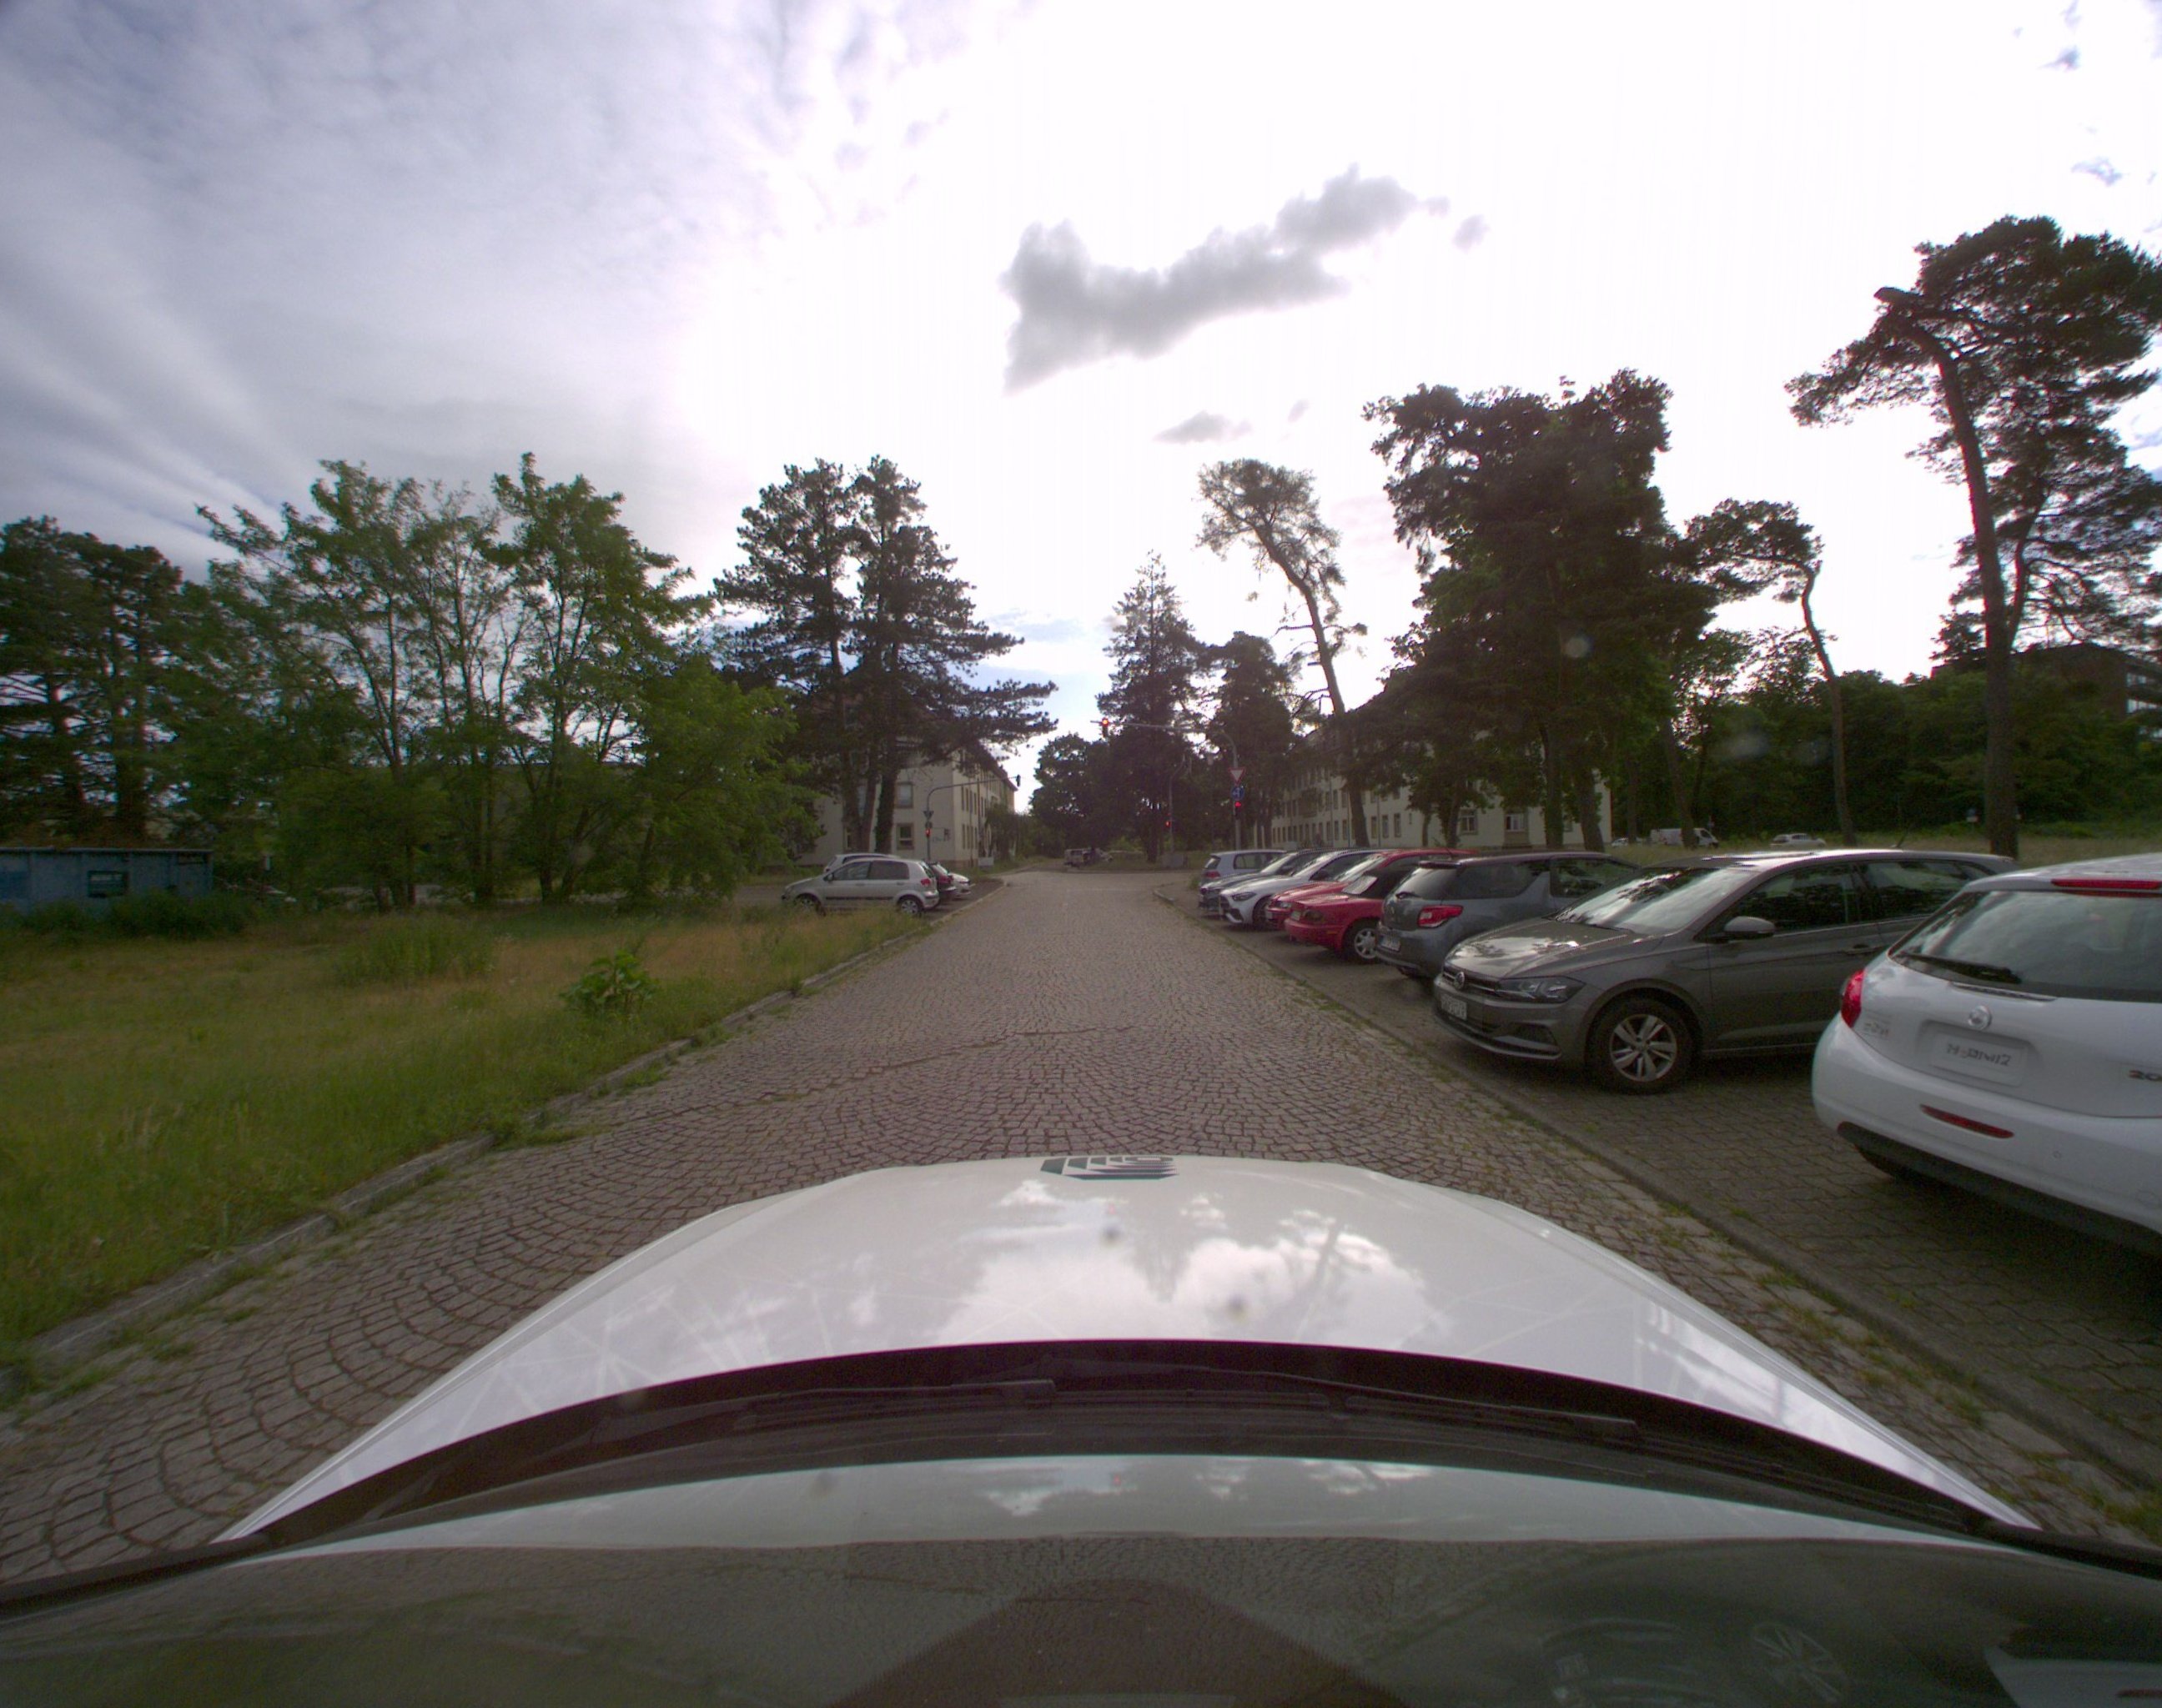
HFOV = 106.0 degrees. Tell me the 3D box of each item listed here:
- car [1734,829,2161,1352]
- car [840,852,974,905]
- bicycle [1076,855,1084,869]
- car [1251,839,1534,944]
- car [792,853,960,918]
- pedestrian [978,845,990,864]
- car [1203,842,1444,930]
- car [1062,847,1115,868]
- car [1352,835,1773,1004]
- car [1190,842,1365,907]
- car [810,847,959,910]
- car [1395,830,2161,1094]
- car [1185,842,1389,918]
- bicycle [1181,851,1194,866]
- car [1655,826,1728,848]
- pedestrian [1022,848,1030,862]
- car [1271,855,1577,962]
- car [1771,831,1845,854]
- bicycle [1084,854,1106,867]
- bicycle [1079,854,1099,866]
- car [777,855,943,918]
[{"bbox_3d":[4.945,0.634,3.012,3.642,1.478,1.765,-2,0,-1],"label":"car"},{"bbox_3d":[-5.928,0.815,28.162,4.293,1.554,1.808,-3,0,-7],"label":"car"},{"bbox_3d":[-0.064,0.697,68.817,0.660,1.171,1.887,0,0,0],"label":"bicycle"},{"bbox_3d":[5.133,0.583,13.754,4.095,1.476,1.683,-2,0,-3],"label":"car"},{"bbox_3d":[-5.657,0.835,22.909,4.293,1.554,1.808,-3,0,-7],"label":"car"},{"bbox_3d":[-10.192,0.078,85.777,1.071,1.959,1.121,0,0,-1],"label":"pedestrian"},{"bbox_3d":[4.711,0.579,16.108,4.182,1.437,1.750,-3,0,-8],"label":"car"},{"bbox_3d":[0.760,0.334,88.268,5.382,2.101,2.169,-2,0,-13],"label":"car"},{"bbox_3d":[4.982,0.630,8.784,3.495,1.487,1.742,-2,0,-1],"label":"car"},{"bbox_3d":[5.106,0.515,21.435,4.130,1.463,1.630,-3,0,-6],"label":"car"},{"bbox_3d":[-6.106,0.742,25.705,4.292,1.732,1.649,-2,0,-6],"label":"car"},{"bbox_3d":[4.694,0.656,5.912,4.117,1.447,1.765,-2,0,0],"label":"car"},{"bbox_3d":[4.716,0.559,18.875,4.231,1.479,1.703,-3,0,-11],"label":"car"},{"bbox_3d":[7.614,0.324,58.322,0.660,1.051,1.887,0,1,0],"label":"bicycle"},{"bbox_3d":[56.483,-1.577,75.416,5.283,2.019,2.105,0,0,0],"label":"car"},{"bbox_3d":[-7.964,0.122,117.680,1.238,1.959,1.119,0,0,-6],"label":"pedestrian"},{"bbox_3d":[4.647,0.715,11.403,3.574,1.222,1.629,-2,0,0],"label":"car"},{"bbox_3d":[57.711,-0.894,64.705,4.118,1.804,1.900,0,0,1],"label":"car"},{"bbox_3d":[1.268,0.551,73.474,1.879,1.171,0.663,0,0,-6],"label":"bicycle"},{"bbox_3d":[0.747,0.556,76.962,1.879,1.171,0.663,0,0,-6],"label":"bicycle"},{"bbox_3d":[-5.415,0.786,20.317,3.712,1.481,1.671,1,0,-4],"label":"car"}]
